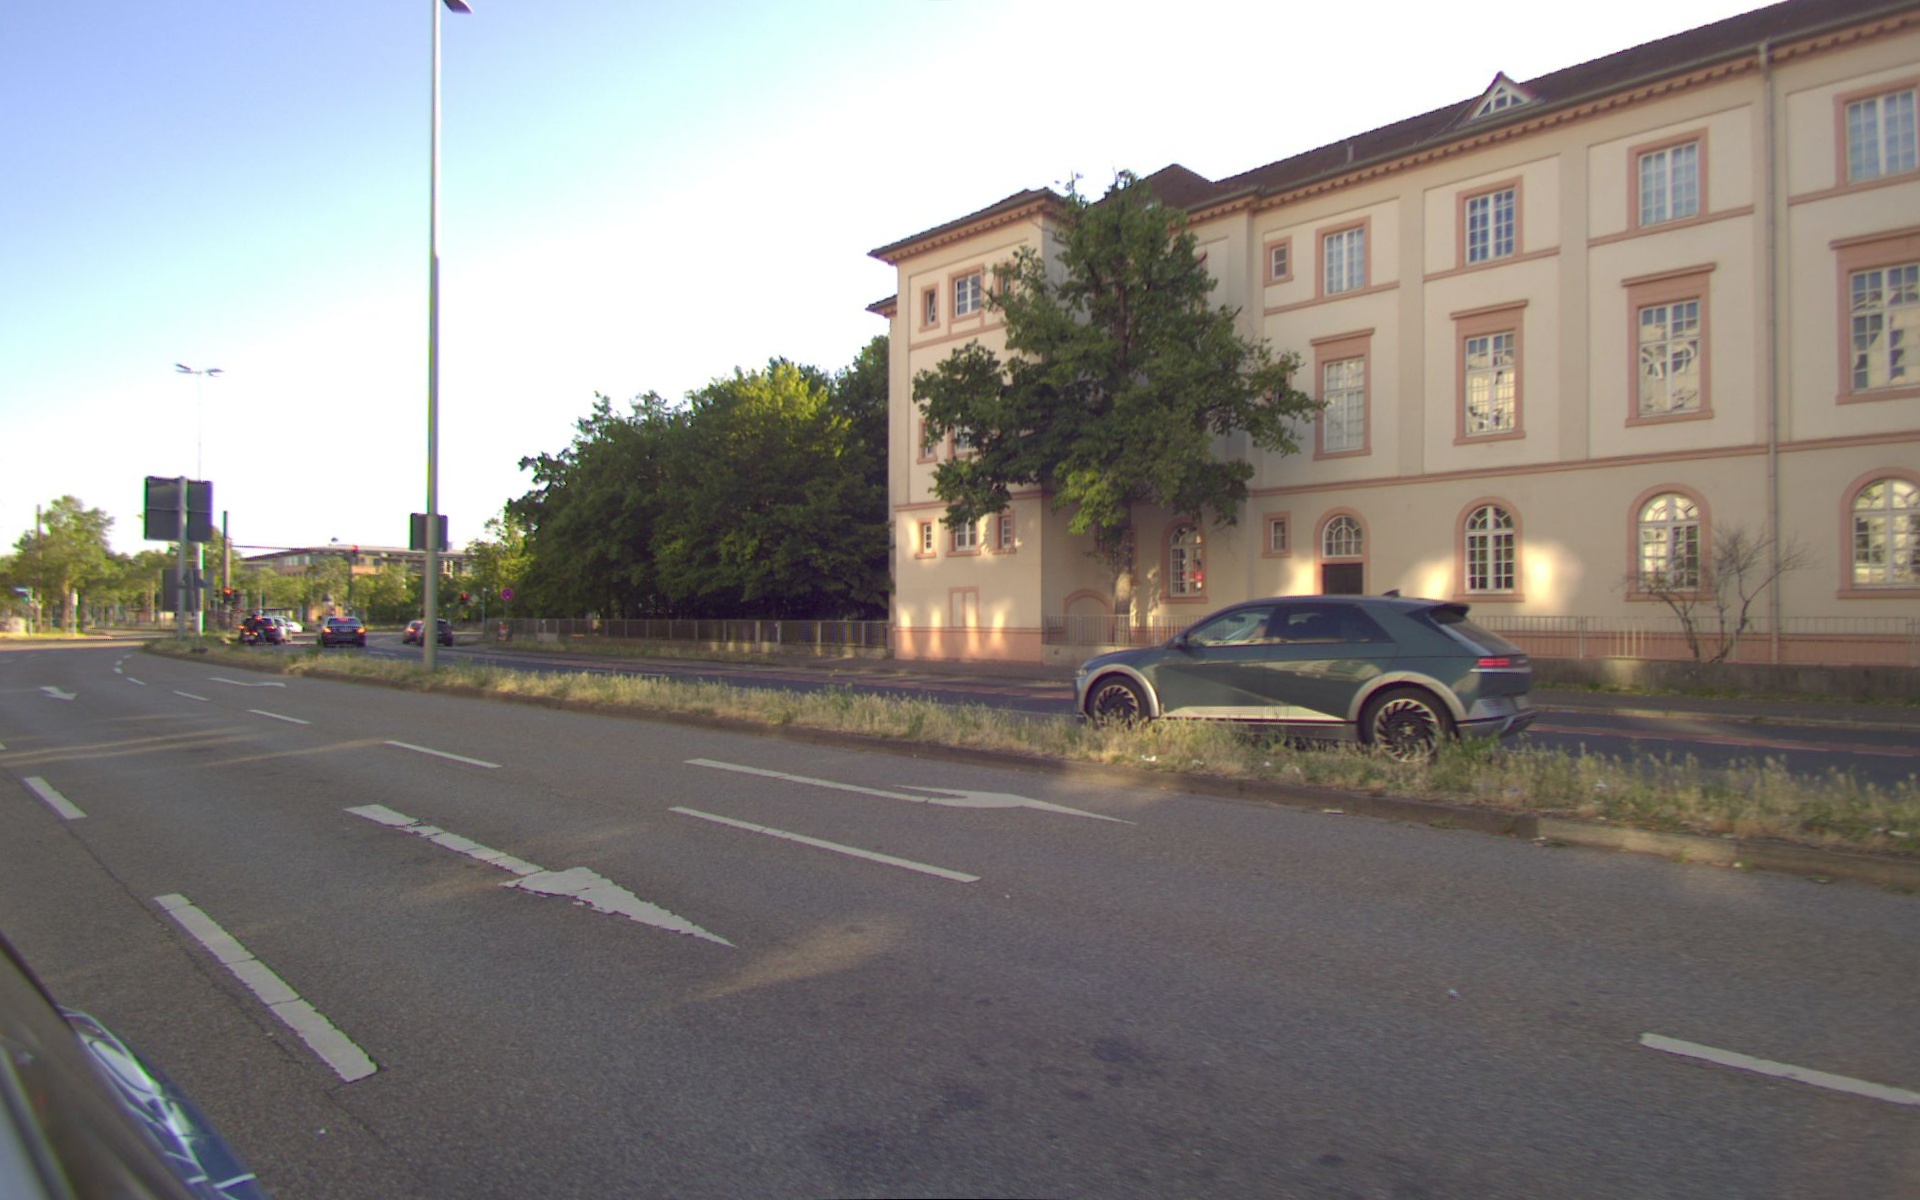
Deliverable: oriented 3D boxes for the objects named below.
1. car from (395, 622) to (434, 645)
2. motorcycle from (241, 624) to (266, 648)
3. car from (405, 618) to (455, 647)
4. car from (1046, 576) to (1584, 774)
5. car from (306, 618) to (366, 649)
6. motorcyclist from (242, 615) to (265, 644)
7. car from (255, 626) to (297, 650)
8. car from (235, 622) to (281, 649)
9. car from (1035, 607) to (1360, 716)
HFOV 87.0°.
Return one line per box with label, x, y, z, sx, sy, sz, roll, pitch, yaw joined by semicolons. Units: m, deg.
car;-32.790;1.982;60.768;1.695;1.306;3.904;1;-1;-34
motorcycle;-34.190;1.708;48.976;0.847;1.116;2.477;1;-1;-32
car;-29.031;1.761;55.416;1.829;1.475;4.009;0;-1;-36
car;3.450;0.638;10.485;4.896;1.590;1.973;-1;-1;41
car;-31.292;1.646;50.672;1.968;1.507;5.303;1;-2;-38
motorcyclist;-34.180;1.413;48.941;0.840;1.409;1.064;1;-2;-32
car;-39.177;2.124;58.002;1.695;1.306;4.261;1;-1;-30
car;-36.618;1.818;52.865;1.695;1.306;4.389;1;-1;-32
car;3.491;0.861;15.421;4.443;1.424;1.972;-1;-2;43
